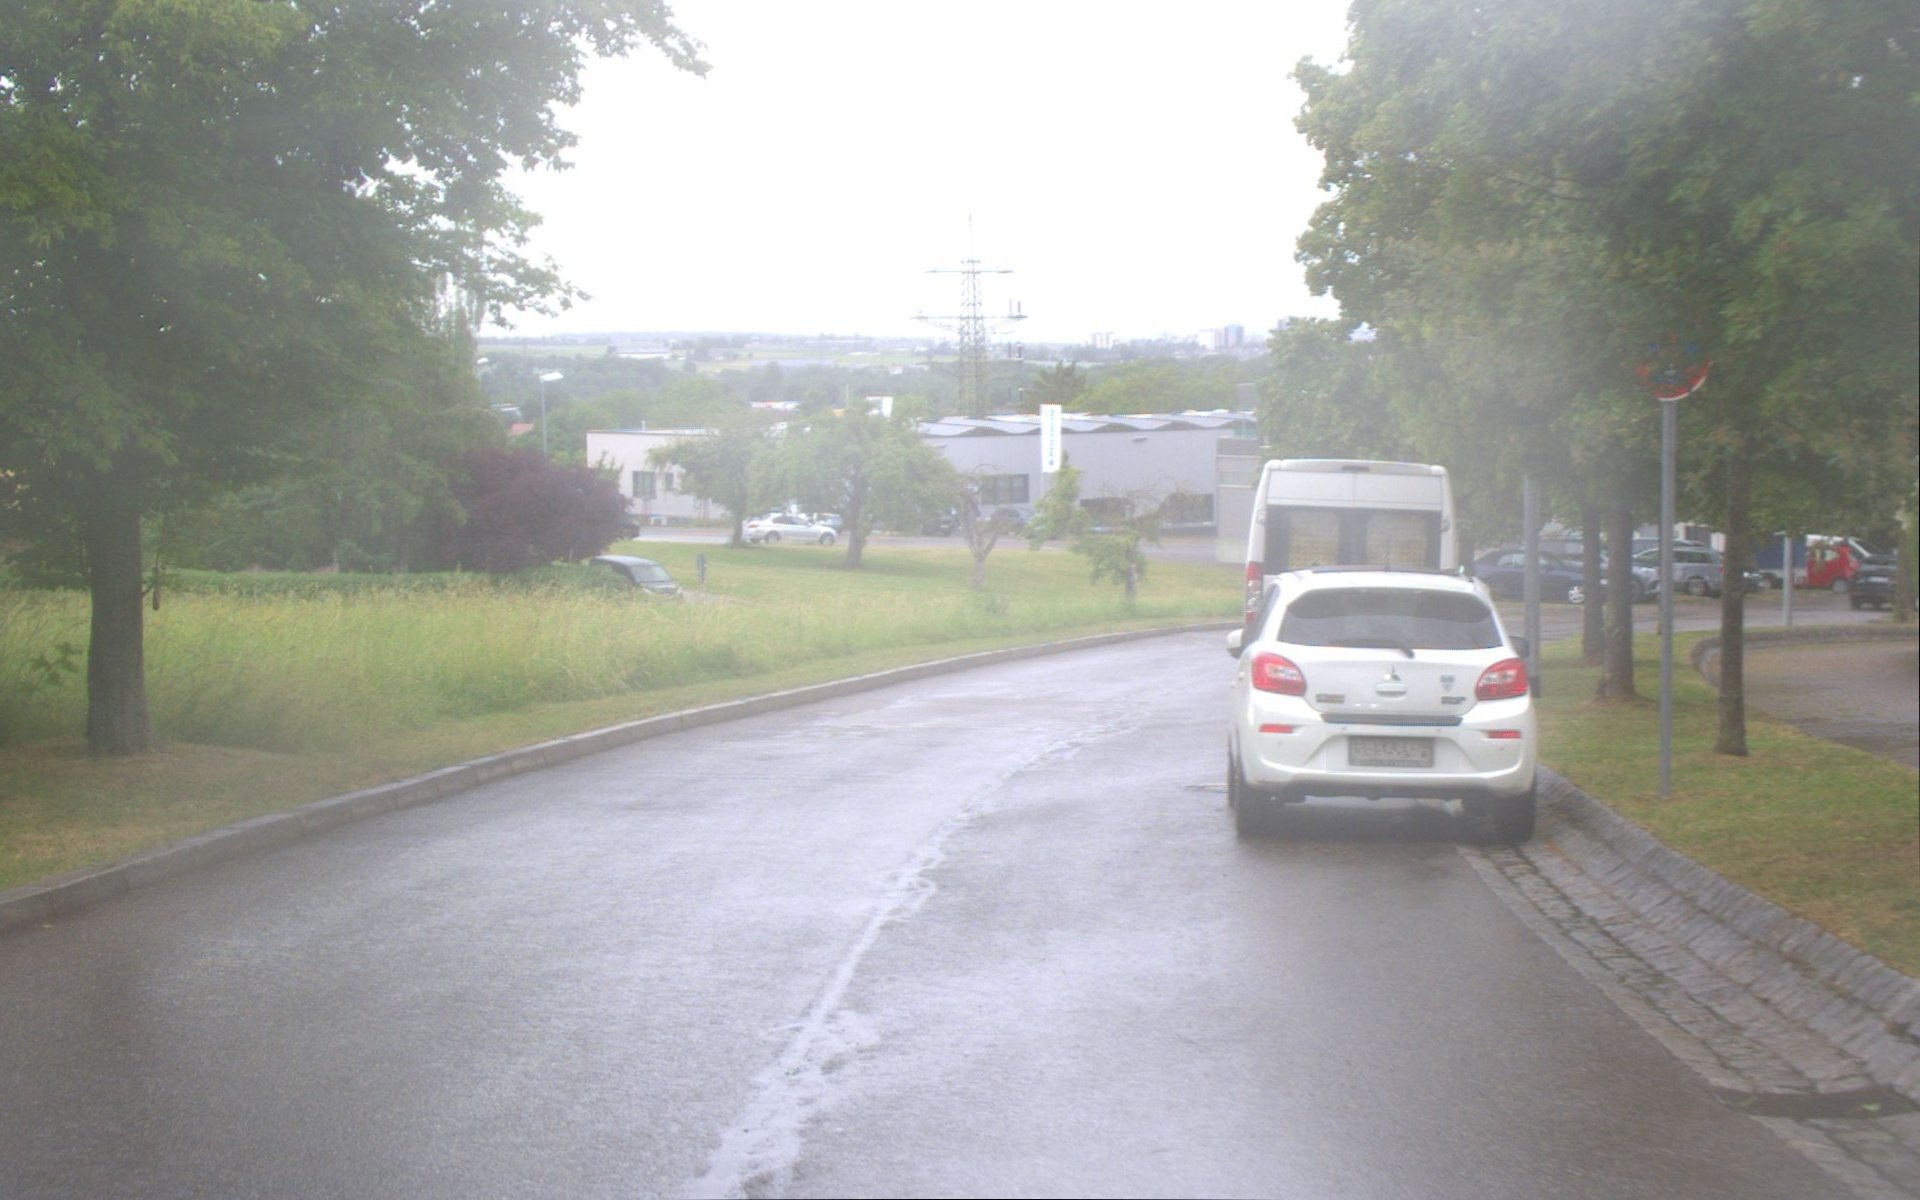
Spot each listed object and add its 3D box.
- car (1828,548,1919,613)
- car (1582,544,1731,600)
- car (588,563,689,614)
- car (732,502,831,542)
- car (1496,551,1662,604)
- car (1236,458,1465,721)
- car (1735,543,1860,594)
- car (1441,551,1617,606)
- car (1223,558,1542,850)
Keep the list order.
[{"bbox_3d":[24.489,-0.528,91.516,1.689,1.546,3.691,2,3,30],"label":"car"},{"bbox_3d":[19.963,-0.824,98.506,3.875,1.542,1.771,1,1,24],"label":"car"},{"bbox_3d":[-11.150,-0.412,118.927,1.776,1.591,4.000,-1,3,-34],"label":"car"},{"bbox_3d":[-8.506,-3.701,163.582,4.261,1.696,1.798,1,3,-28],"label":"car"},{"bbox_3d":[16.396,-0.590,91.093,3.992,1.356,1.852,-1,1,25],"label":"car"},{"bbox_3d":[4.080,-0.147,35.426,2.118,2.459,5.508,1,1,8],"label":"car"},{"bbox_3d":[26.784,-1.007,109.905,3.566,1.600,1.690,0,1,28],"label":"car"},{"bbox_3d":[14.811,-0.562,89.472,4.171,1.350,1.860,-1,1,25],"label":"car"},{"bbox_3d":[2.375,0.528,20.054,1.606,1.497,3.726,1,1,4],"label":"car"}]
